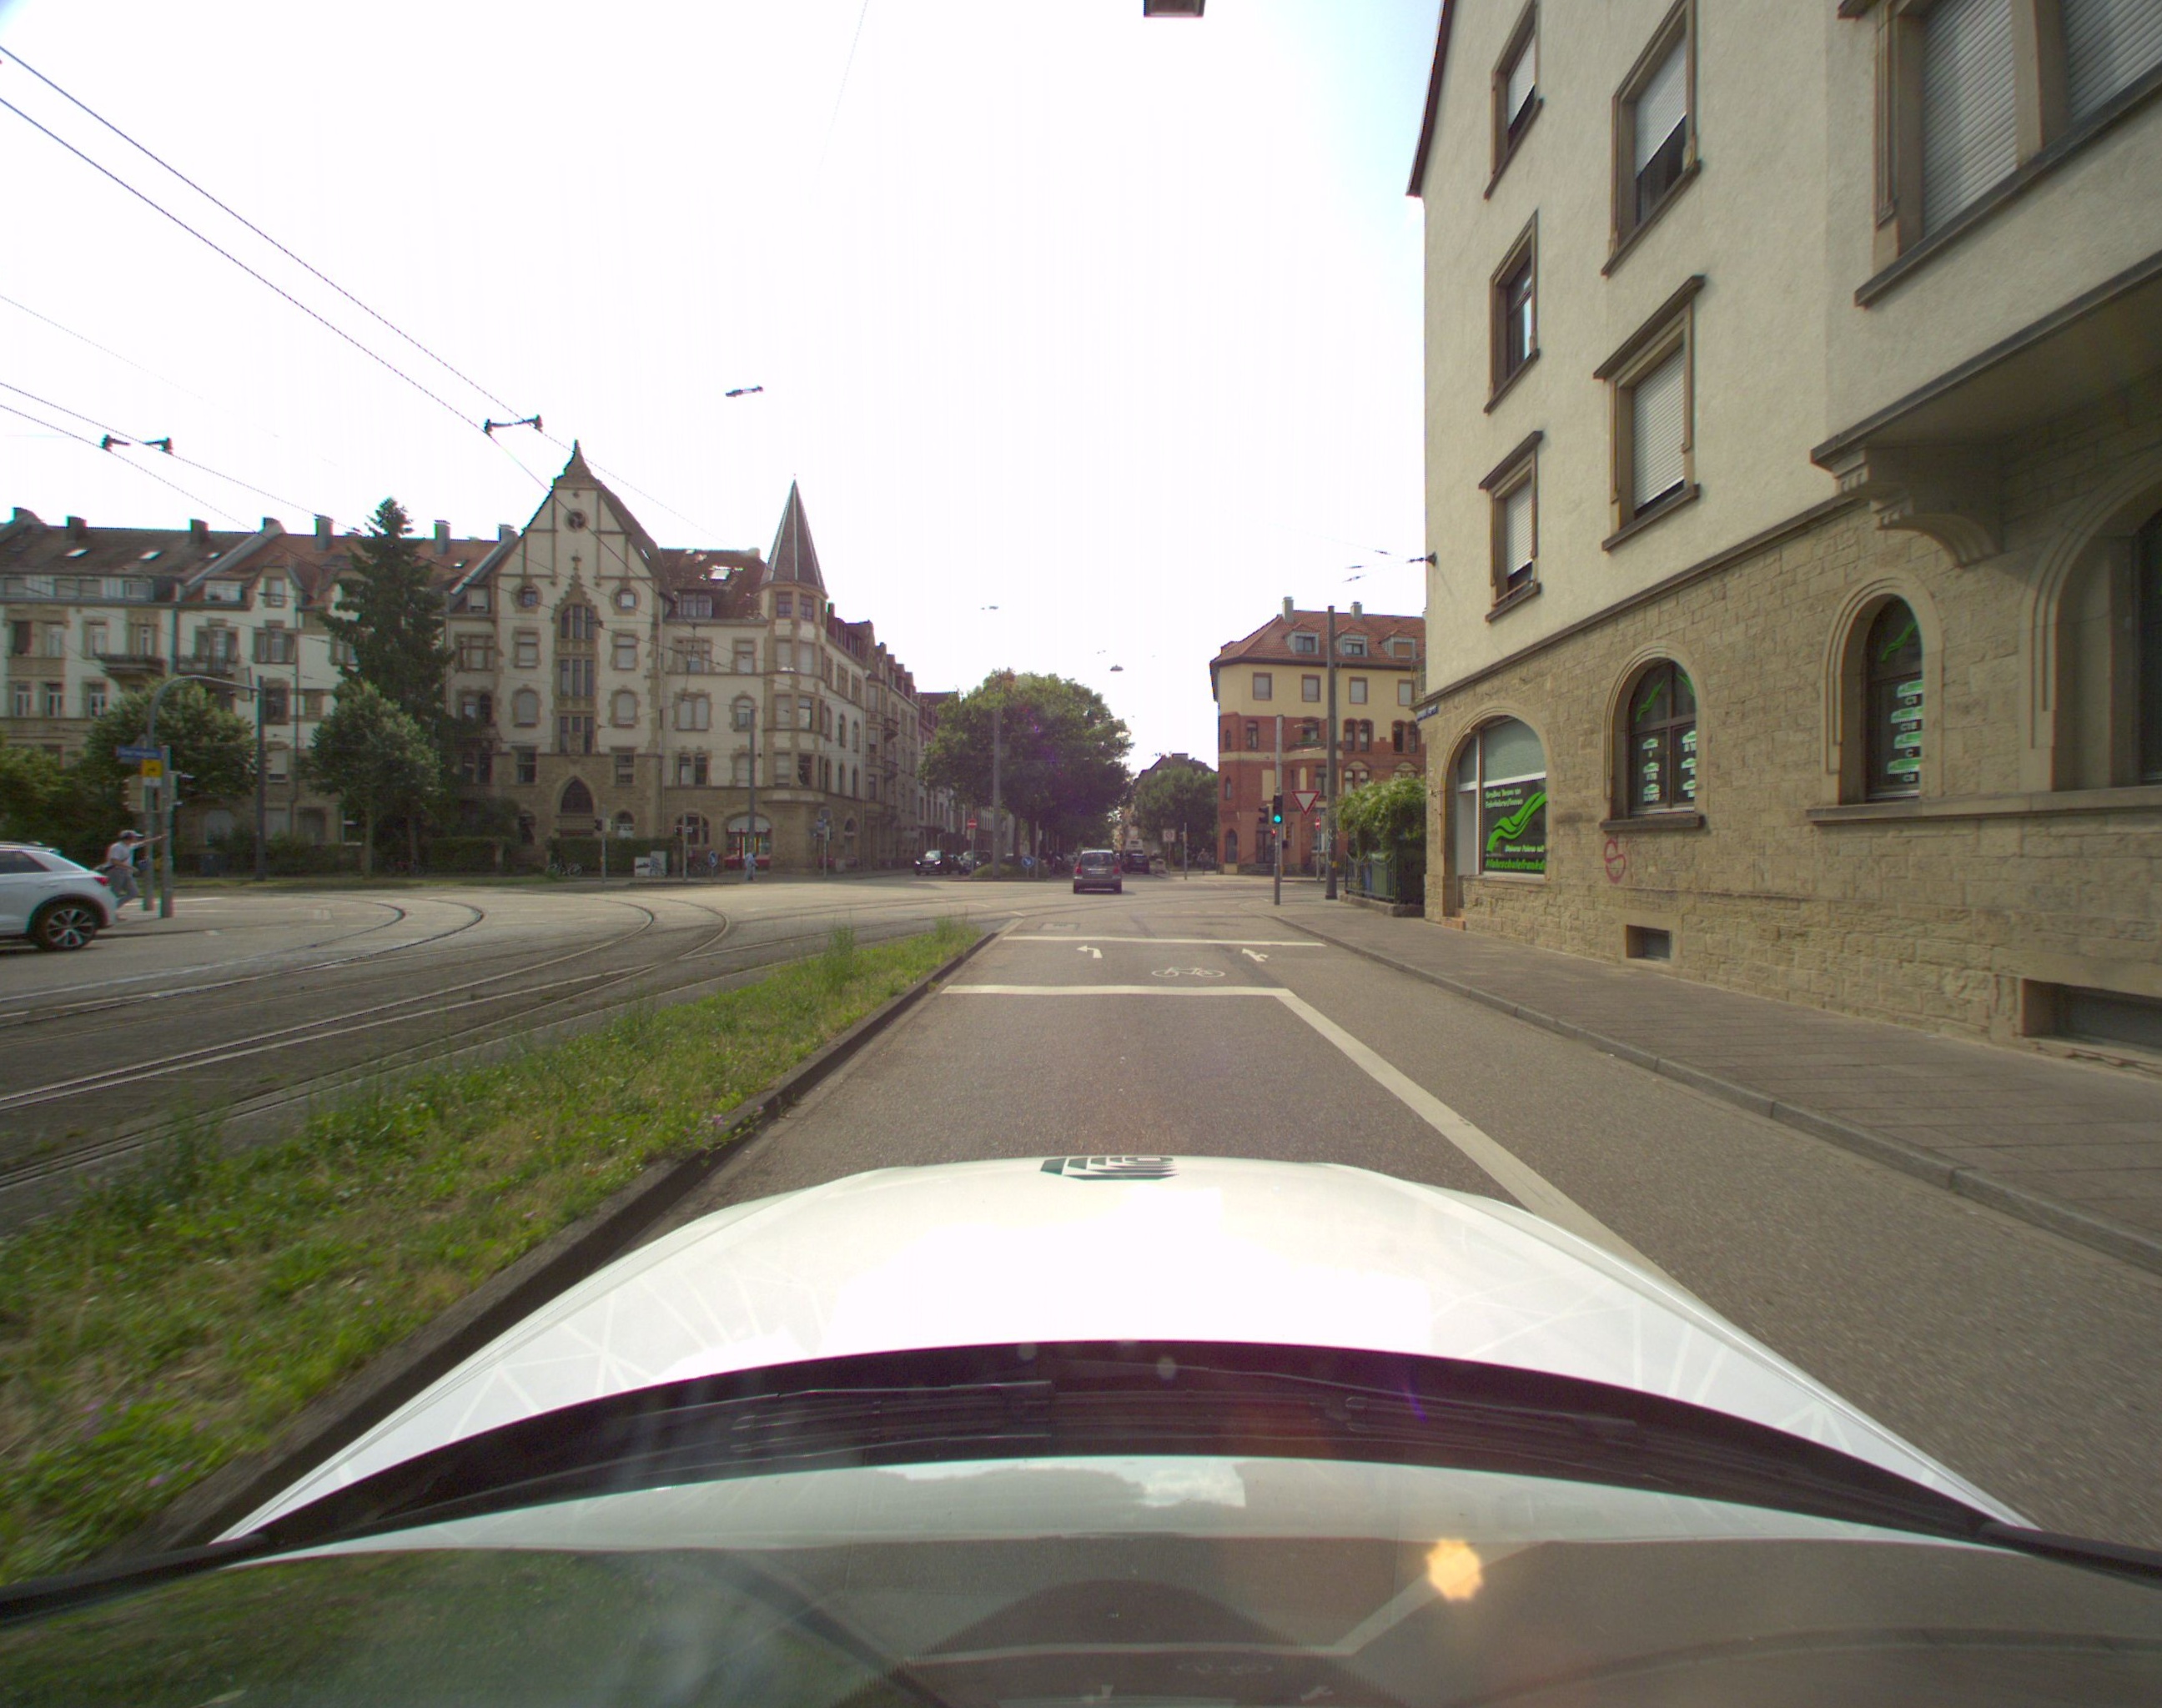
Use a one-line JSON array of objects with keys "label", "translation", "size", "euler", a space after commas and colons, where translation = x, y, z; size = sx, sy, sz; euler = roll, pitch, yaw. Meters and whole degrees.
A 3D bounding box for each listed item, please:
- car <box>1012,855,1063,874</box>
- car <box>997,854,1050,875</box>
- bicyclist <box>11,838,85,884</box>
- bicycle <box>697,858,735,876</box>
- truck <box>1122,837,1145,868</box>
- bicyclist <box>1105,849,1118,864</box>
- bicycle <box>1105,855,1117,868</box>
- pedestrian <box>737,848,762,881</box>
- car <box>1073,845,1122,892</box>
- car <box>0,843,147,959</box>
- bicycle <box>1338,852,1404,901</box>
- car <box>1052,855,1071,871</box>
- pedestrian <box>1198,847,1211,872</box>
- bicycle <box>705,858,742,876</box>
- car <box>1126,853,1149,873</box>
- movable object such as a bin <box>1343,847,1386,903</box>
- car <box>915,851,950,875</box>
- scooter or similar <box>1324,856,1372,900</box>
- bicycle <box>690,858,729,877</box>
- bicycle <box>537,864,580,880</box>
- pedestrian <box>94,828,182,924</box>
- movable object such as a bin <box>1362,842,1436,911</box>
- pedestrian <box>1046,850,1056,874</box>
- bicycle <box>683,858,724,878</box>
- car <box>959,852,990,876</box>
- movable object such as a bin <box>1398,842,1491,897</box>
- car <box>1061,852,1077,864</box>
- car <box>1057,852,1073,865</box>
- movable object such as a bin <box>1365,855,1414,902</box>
[{"label": "car", "translation": [-3.328, 0.787, 61.541], "size": [1.984, 1.339, 3.955], "euler": [0, 0, -37]}, {"label": "car", "translation": [-4.187, 0.719, 58.942], "size": [1.984, 1.495, 3.955], "euler": [0, 0, -37]}, {"label": "bicyclist", "translation": [-26.775, 0.180, 21.125], "size": [0.894, 1.147, 0.774], "euler": [0, 0, -7]}, {"label": "bicycle", "translation": [-21.614, 0.767, 48.261], "size": [1.915, 1.081, 0.776], "euler": [-1, 0, -9]}, {"label": "truck", "translation": [5.170, -0.163, 79.483], "size": [2.112, 2.970, 4.006], "euler": [-1, 0, 5]}, {"label": "bicyclist", "translation": [2.193, 0.178, 58.689], "size": [0.832, 1.082, 1.402], "euler": [-1, 0, 5]}, {"label": "bicycle", "translation": [2.176, 0.533, 58.586], "size": [0.745, 0.958, 2.302], "euler": [-1, 0, 6]}, {"label": "pedestrian", "translation": [-17.359, 0.547, 42.676], "size": [1.029, 1.722, 0.767], "euler": [0, 0, -43]}, {"label": "car", "translation": [0.663, 0.516, 30.309], "size": [1.715, 1.605, 3.679], "euler": [-1, 0, 3]}, {"label": "car", "translation": [-15.309, 0.624, 10.321], "size": [1.925, 1.535, 4.261], "euler": [0, 0, 3]}, {"label": "bicycle", "translation": [8.133, 0.612, 22.815], "size": [1.827, 1.329, 0.276], "euler": [-1, 0, -9]}, {"label": "car", "translation": [-1.973, 0.895, 83.339], "size": [1.745, 1.633, 3.501], "euler": [0, 0, 2]}, {"label": "pedestrian", "translation": [8.397, 0.363, 55.570], "size": [0.864, 1.656, 0.737], "euler": [0, 0, 6]}, {"label": "bicycle", "translation": [-21.743, 0.771, 49.507], "size": [1.915, 1.081, 0.776], "euler": [-1, 0, -9]}, {"label": "car", "translation": [4.653, 0.702, 66.626], "size": [1.743, 1.633, 3.505], "euler": [0, 0, 5]}, {"label": "movable object such as a bin", "translation": [7.637, 0.556, 21.989], "size": [0.714, 1.472, 0.980], "euler": [-1, 0, -7]}, {"label": "car", "translation": [-10.659, 0.618, 58.836], "size": [1.989, 1.618, 3.995], "euler": [-1, 0, -3]}, {"label": "scooter or similar", "translation": [7.572, 0.670, 23.125], "size": [1.192, 1.217, 0.462], "euler": [-1, 0, -5]}, {"label": "bicycle", "translation": [-21.499, 0.764, 47.121], "size": [1.915, 1.081, 0.776], "euler": [-1, 0, -9]}, {"label": "bicycle", "translation": [-28.235, 0.961, 44.028], "size": [1.915, 0.848, 0.469], "euler": [-1, 0, -9]}, {"label": "pedestrian", "translation": [-18.375, 0.415, 15.896], "size": [0.763, 1.795, 0.952], "euler": [0, 0, -24]}, {"label": "movable object such as a bin", "translation": [7.531, 0.506, 19.417], "size": [1.045, 1.539, 2.102], "euler": [-1, 0, 4]}, {"label": "pedestrian", "translation": [-2.146, 0.573, 57.726], "size": [0.648, 1.725, 0.495], "euler": [0, 0, 5]}, {"label": "bicycle", "translation": [-21.245, 0.759, 45.868], "size": [1.915, 1.081, 0.776], "euler": [-1, 0, -9]}, {"label": "car", "translation": [-7.866, 0.708, 60.369], "size": [1.989, 1.728, 3.995], "euler": [-1, 0, -3]}, {"label": "movable object such as a bin", "translation": [9.918, 0.412, 22.270], "size": [2.090, 1.413, 1.051], "euler": [-1, 0, -5]}, {"label": "car", "translation": [-1.507, 0.526, 103.815], "size": [1.745, 1.517, 3.501], "euler": [0, 0, 2]}, {"label": "car", "translation": [-1.889, 0.552, 96.963], "size": [1.745, 1.517, 3.501], "euler": [0, 0, 2]}, {"label": "movable object such as a bin", "translation": [7.942, 0.631, 21.001], "size": [1.023, 1.174, 0.660], "euler": [-1, 0, 3]}]
